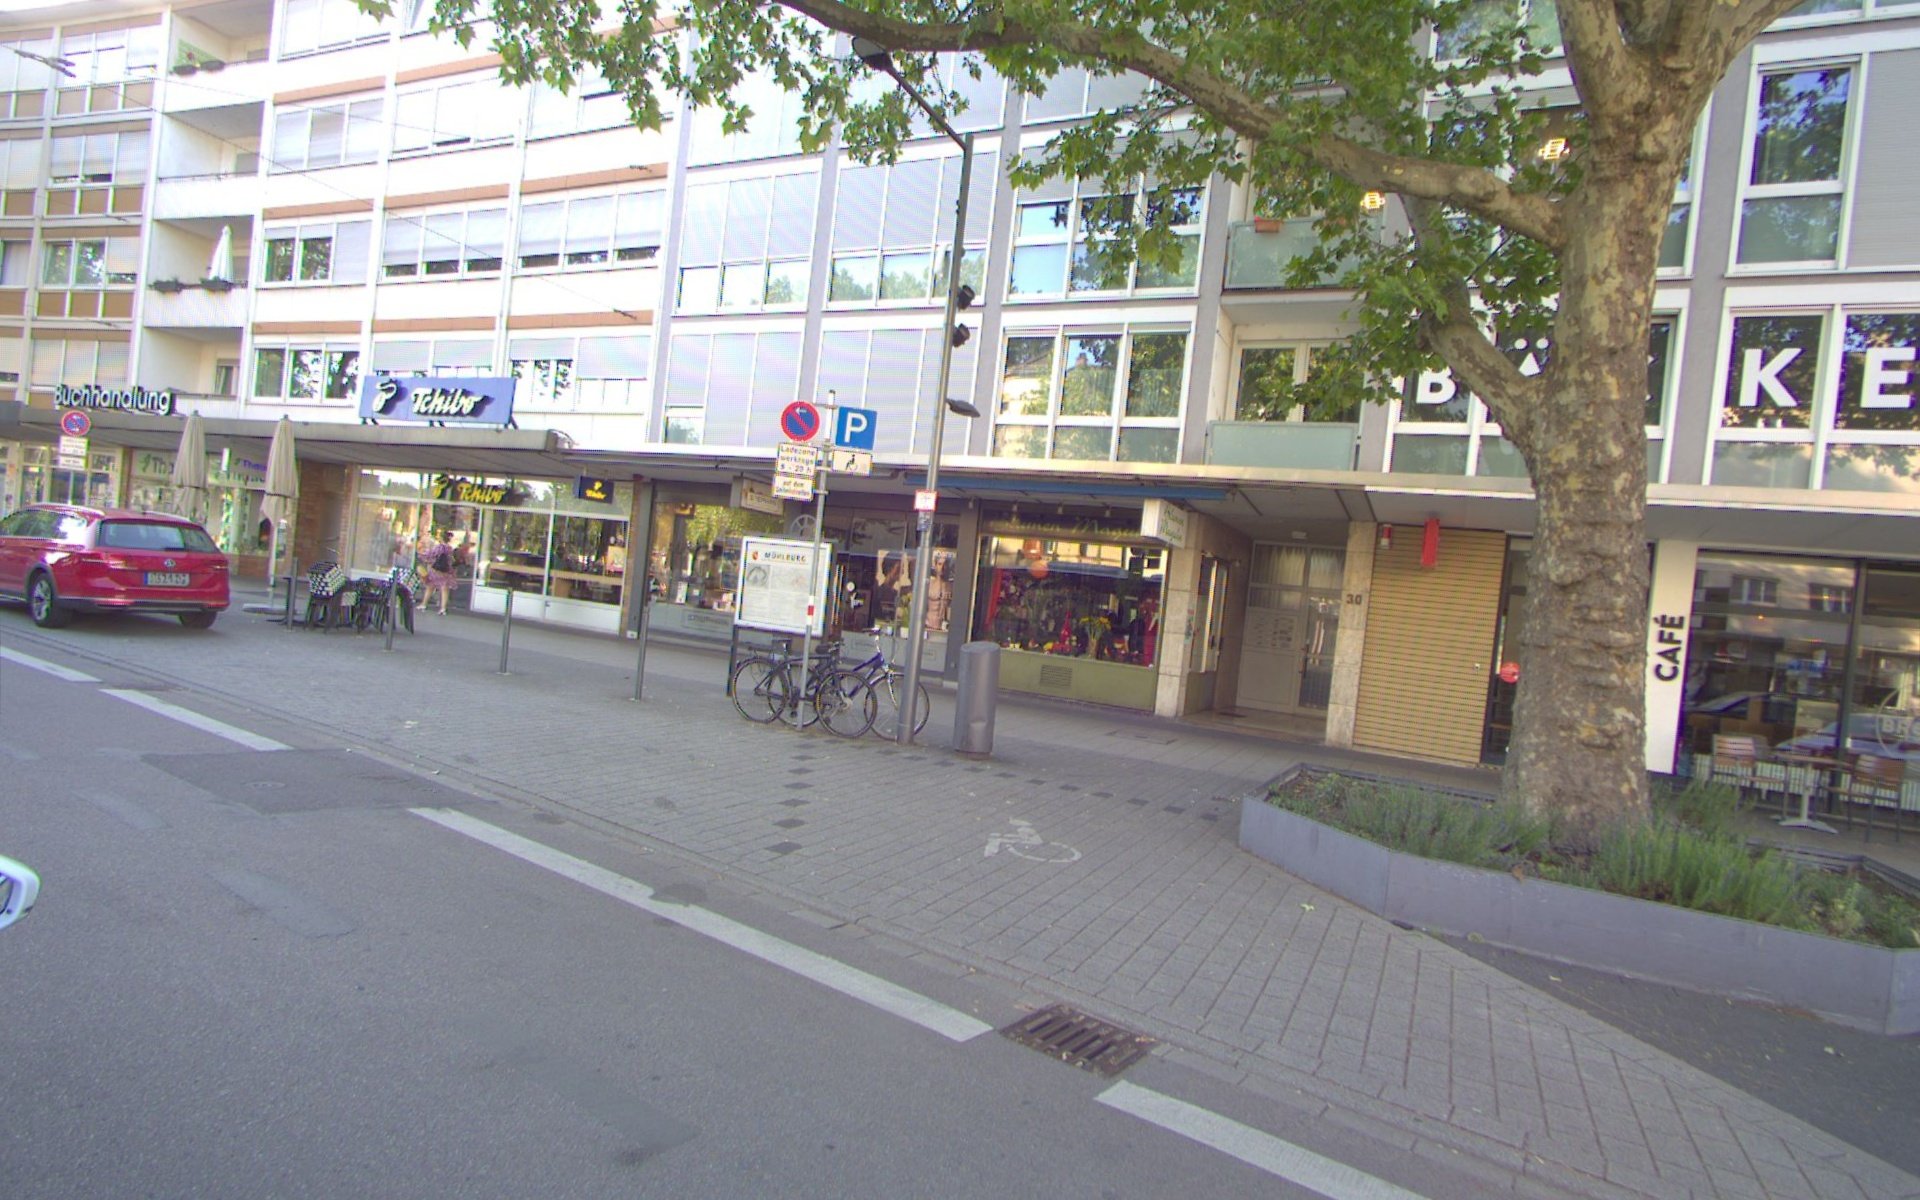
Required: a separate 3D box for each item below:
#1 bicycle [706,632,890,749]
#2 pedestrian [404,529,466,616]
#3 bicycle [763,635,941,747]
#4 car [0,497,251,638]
[{"bbox_3d":[-1.648,0.900,10.234,1.743,0.951,0.391,6,2,12],"label":"bicycle"},{"bbox_3d":[-10.299,-0.529,19.741,0.776,1.613,0.651,7,3,26],"label":"pedestrian"},{"bbox_3d":[-1.130,0.931,10.549,1.743,0.931,0.391,6,2,12],"label":"bicycle"},{"bbox_3d":[-11.647,-0.491,13.451,4.229,1.502,1.772,6,1,28],"label":"car"}]
